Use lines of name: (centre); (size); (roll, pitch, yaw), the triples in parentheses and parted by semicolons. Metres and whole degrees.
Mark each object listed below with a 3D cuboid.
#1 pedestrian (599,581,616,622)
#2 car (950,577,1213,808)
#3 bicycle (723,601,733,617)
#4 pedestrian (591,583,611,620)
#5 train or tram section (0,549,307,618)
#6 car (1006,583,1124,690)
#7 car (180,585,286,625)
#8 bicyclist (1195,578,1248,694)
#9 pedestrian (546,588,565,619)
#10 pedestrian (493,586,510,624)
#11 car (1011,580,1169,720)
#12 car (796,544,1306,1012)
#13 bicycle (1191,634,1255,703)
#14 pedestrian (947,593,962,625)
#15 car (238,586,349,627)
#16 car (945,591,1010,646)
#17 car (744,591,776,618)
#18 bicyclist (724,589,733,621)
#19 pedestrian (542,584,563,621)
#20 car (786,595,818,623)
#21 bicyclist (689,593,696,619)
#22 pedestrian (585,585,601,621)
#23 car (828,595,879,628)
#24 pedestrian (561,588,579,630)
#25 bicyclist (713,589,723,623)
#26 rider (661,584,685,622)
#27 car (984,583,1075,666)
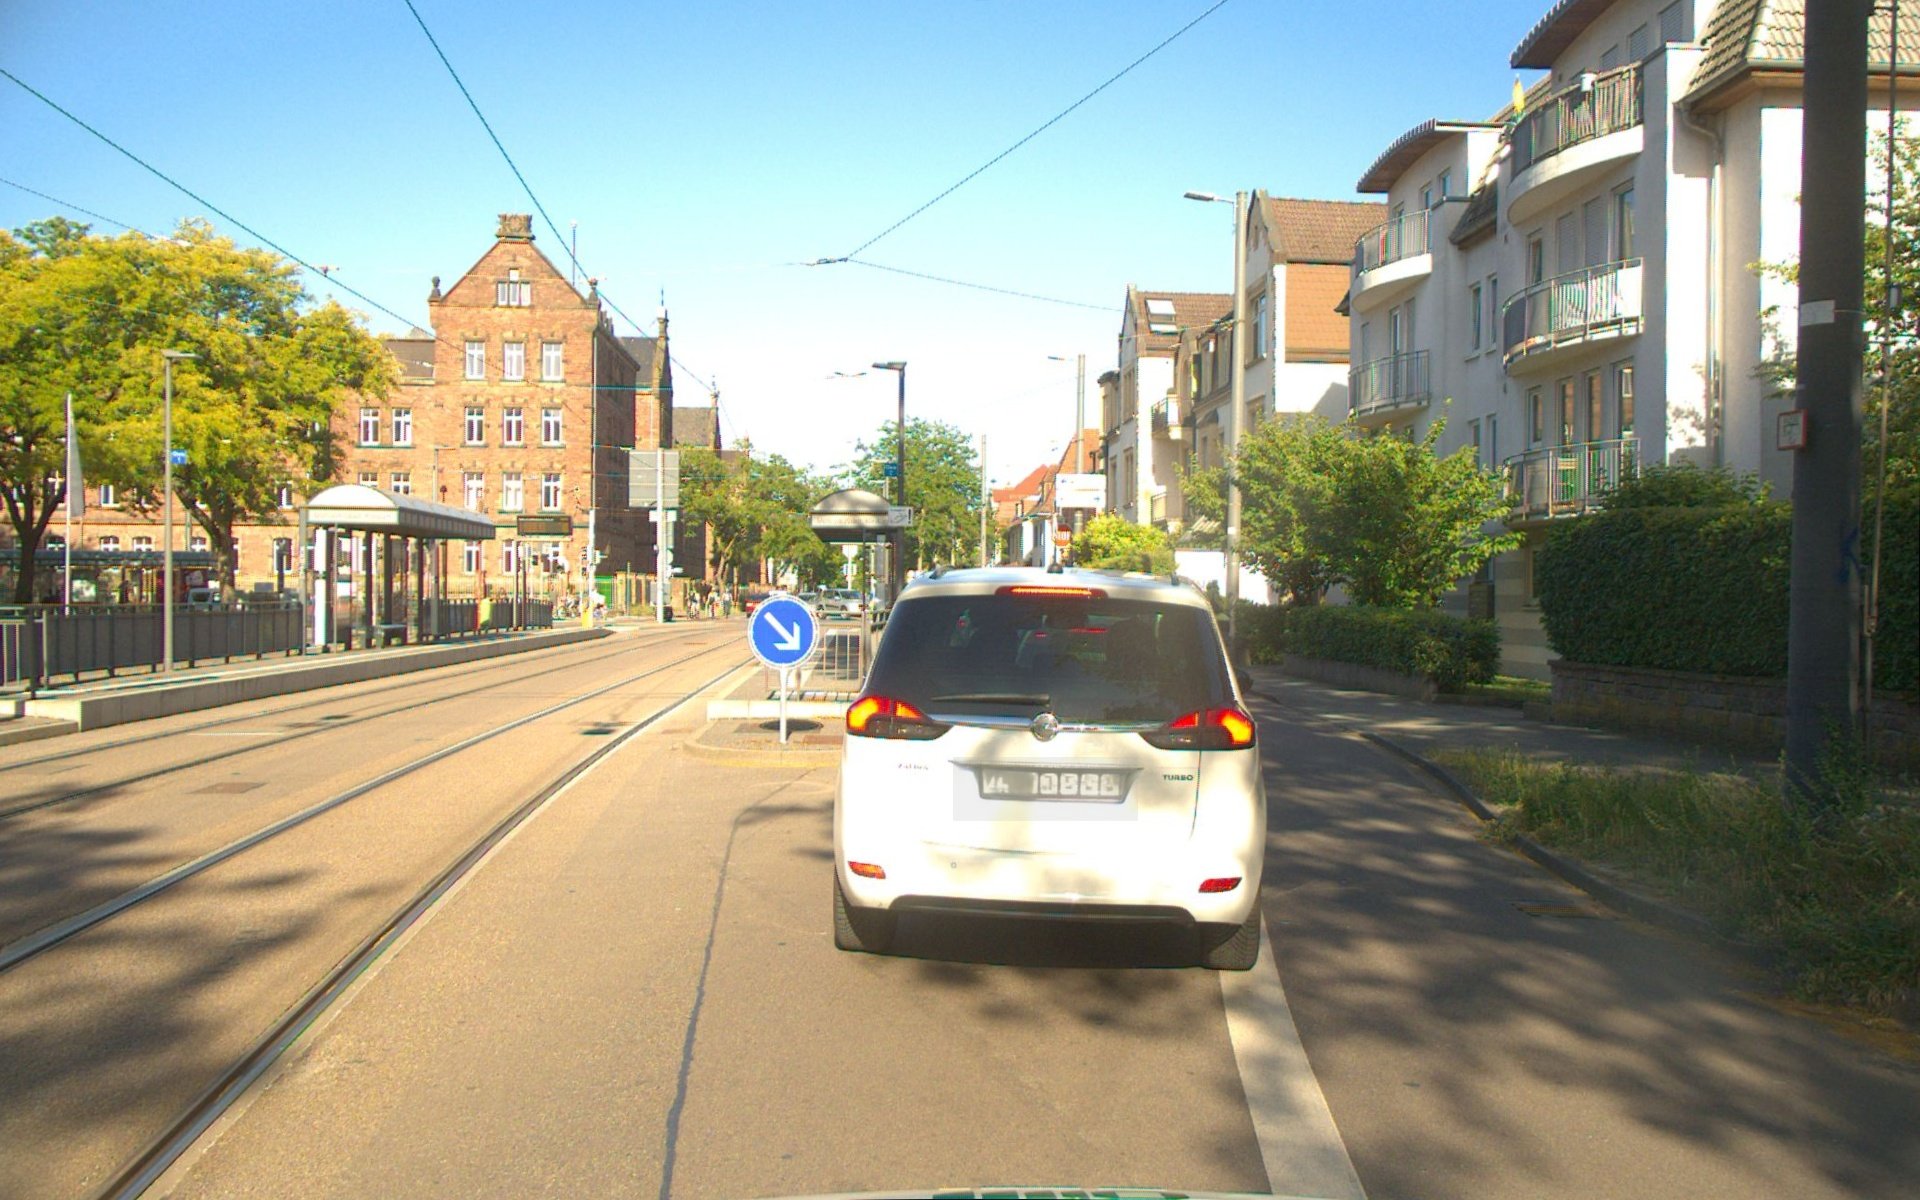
pedestrian: (-18.053, 0.084, 84.709); (0.782, 2.049, 0.717); (1, -1, -18)
car: (1.079, 0.648, 13.786); (1.866, 1.625, 4.003); (0, 0, 6)
bicycle: (-14.969, 0.565, 106.788); (0.477, 0.988, 1.405); (1, 0, -1)
pedestrian: (-20.027, 0.083, 92.380); (0.706, 2.049, 0.795); (1, -1, 34)
train or tram section: (-40.721, -0.756, 79.445); (17.048, 3.210, 3.343); (0, 0, -6)
car: (1.804, 0.575, 28.298); (1.867, 1.690, 4.002); (0, 0, 4)
car: (-32.420, 0.223, 73.841); (3.908, 1.658, 1.817); (1, 0, -4)
bicyclist: (3.863, 0.522, 24.447); (0.662, 1.687, 0.745); (0, 0, 1)
pedestrian: (-22.047, 0.194, 90.116); (0.642, 1.640, 0.709); (1, -1, 32)
pedestrian: (-22.398, 0.248, 80.856); (0.754, 1.805, 0.717); (1, -1, -18)
car: (1.762, 0.584, 21.637); (1.866, 1.653, 4.003); (0, 0, 6)
car: (0.543, 0.633, 8.075); (1.866, 1.690, 4.003); (0, 0, 6)
bicycle: (3.874, 0.992, 24.461); (0.662, 0.941, 1.885); (0, 0, 1)
pedestrian: (-0.350, 0.552, 102.730); (0.790, 1.934, 0.744); (1, -1, 12)
car: (-28.090, 0.269, 69.766); (3.908, 1.658, 1.817); (1, 0, -4)
car: (0.524, 0.549, 53.095); (1.869, 1.690, 3.998); (0, 0, -2)
car: (-13.438, 0.333, 111.375); (1.711, 1.746, 3.999); (1, 0, -1)
bicyclist: (-14.962, 0.337, 106.822); (0.478, 2.049, 0.502); (1, -1, -1)
pedestrian: (-21.847, 0.143, 88.638); (0.791, 1.934, 0.744); (1, -1, 13)
car: (-10.088, 0.552, 105.807); (1.711, 1.746, 3.999); (1, 0, -1)
bicyclist: (-15.407, 0.344, 95.276); (0.307, 1.469, 0.384); (1, -1, -1)
pedestrian: (-20.800, 0.177, 93.771); (0.675, 2.049, 0.618); (1, -1, 9)
car: (-5.848, 0.601, 90.507); (1.721, 1.746, 3.977); (1, 0, -20)
pedestrian: (-19.342, 0.439, 82.000); (0.781, 2.049, 1.042); (1, -1, -15)
bicyclist: (-14.880, 0.379, 101.579); (0.488, 2.049, 0.572); (1, -1, -1)
rider: (-13.761, 0.139, 79.423); (0.779, 1.813, 2.486); (1, 0, -2)
car: (1.463, 0.500, 36.131); (1.868, 1.690, 4.000); (0, 0, 0)
